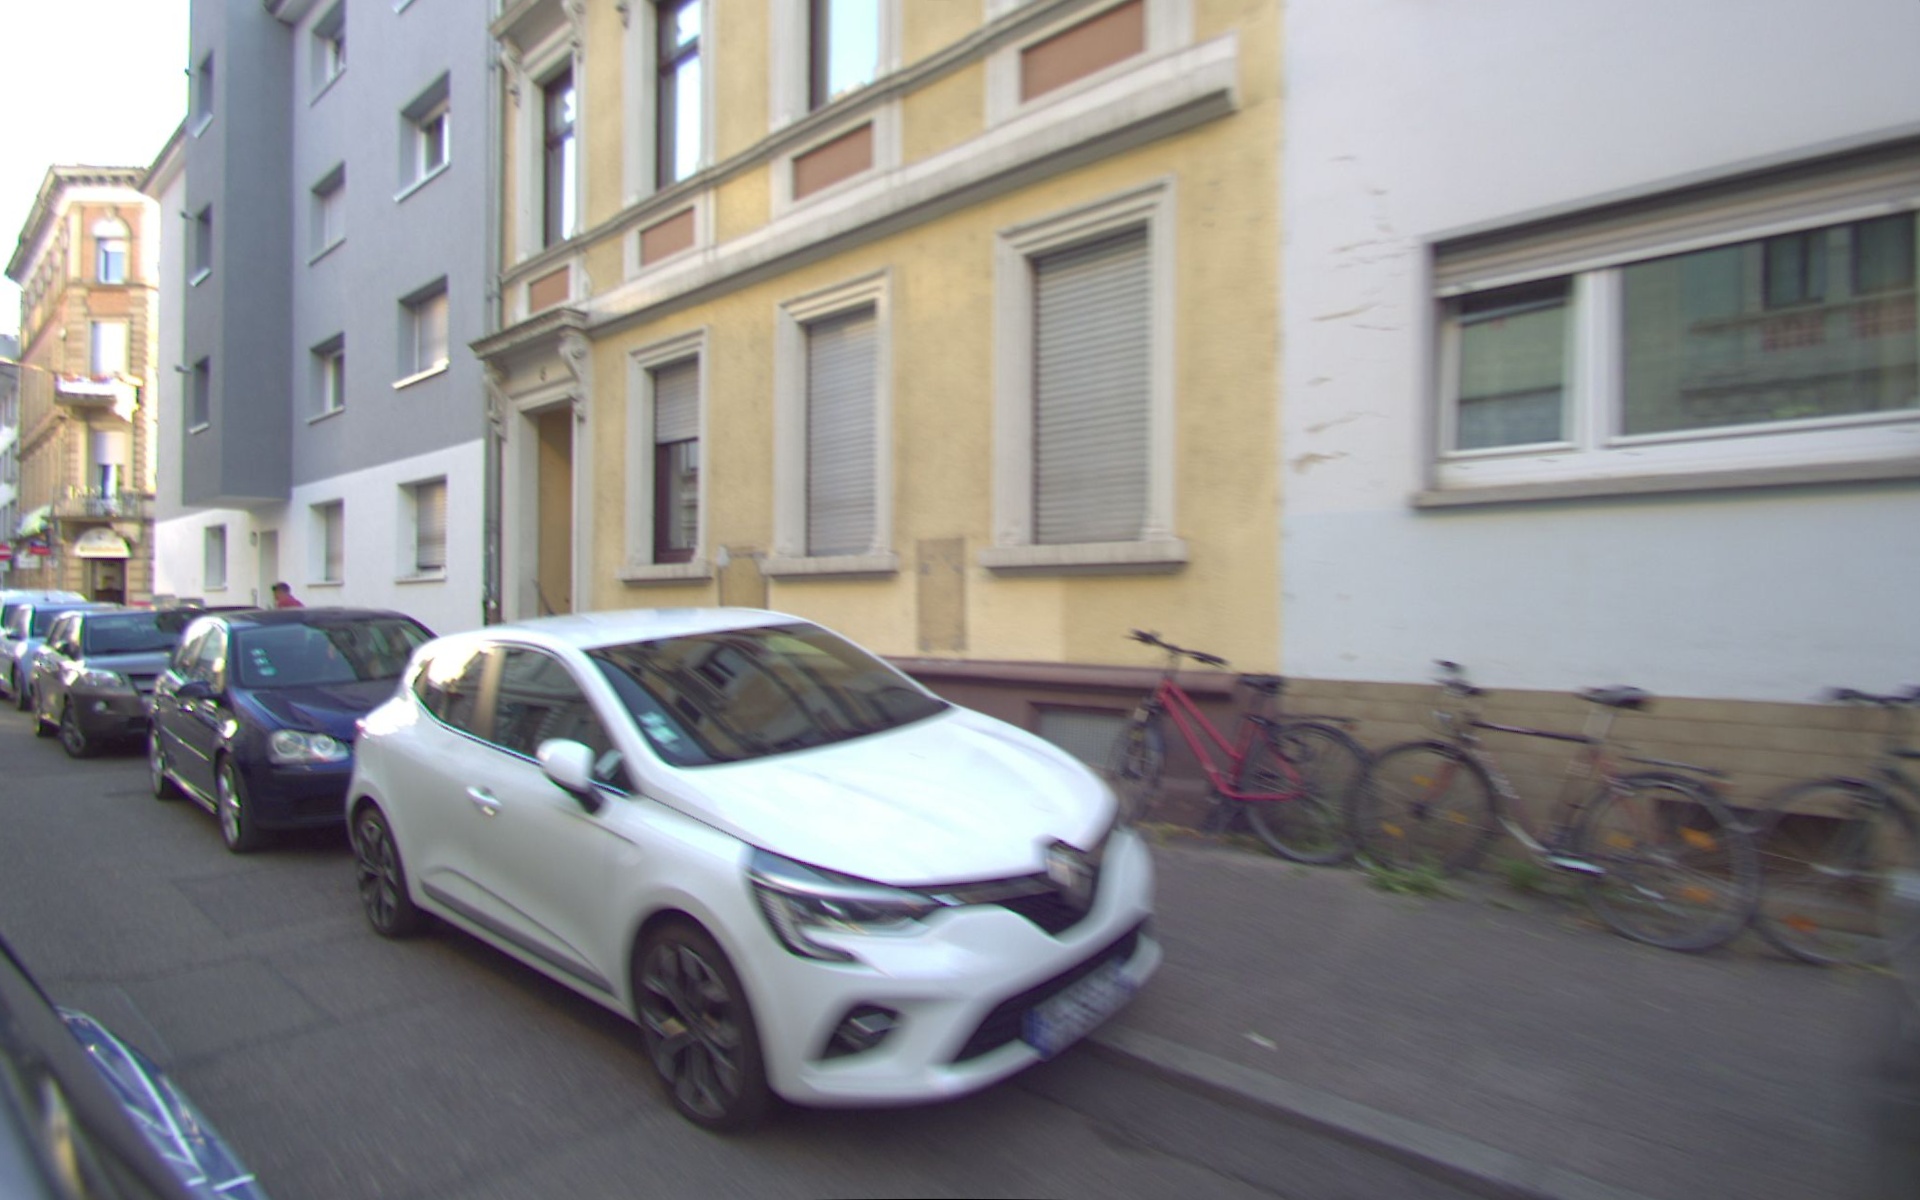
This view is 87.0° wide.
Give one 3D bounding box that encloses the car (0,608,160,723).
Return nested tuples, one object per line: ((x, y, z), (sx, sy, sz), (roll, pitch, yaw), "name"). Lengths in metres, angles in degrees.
((-14.084, 0.948, 15.910), (3.780, 1.592, 1.621), (-1, -1, 40), "car")

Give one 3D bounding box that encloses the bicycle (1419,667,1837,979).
((2.707, 0.828, 4.307), (0.287, 1.016, 1.549), (0, -1, -25), "bicycle")

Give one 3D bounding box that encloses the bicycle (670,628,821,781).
((-1.765, 0.795, 8.181), (1.544, 1.123, 0.377), (-1, -1, 43), "bicycle")

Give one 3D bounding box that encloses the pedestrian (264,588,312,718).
((-9.357, 0.721, 14.091), (0.455, 1.769, 0.450), (-1, -1, 40), "pedestrian")

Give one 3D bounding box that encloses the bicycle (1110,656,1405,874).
((1.565, 0.834, 5.508), (1.542, 1.016, 0.289), (-1, -1, 39), "bicycle")

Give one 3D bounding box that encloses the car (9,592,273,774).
((-9.331, 0.824, 11.440), (3.780, 1.724, 1.621), (-1, -1, 40), "car")

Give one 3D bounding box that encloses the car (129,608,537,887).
((-4.755, 0.833, 7.428), (3.955, 1.500, 1.620), (-1, -1, 44), "car")

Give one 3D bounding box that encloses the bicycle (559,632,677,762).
((-3.267, 0.877, 9.601), (1.544, 1.123, 0.377), (-1, -1, 43), "bicycle")

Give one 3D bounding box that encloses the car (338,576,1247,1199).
((-0.975, 0.734, 4.091), (3.787, 1.500, 1.621), (-1, -1, 42), "car")

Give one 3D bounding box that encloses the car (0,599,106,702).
((-17.831, 0.918, 19.501), (3.782, 1.810, 1.620), (-1, -1, 42), "car")

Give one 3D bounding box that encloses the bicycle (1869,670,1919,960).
((4.044, 0.765, 3.317), (1.541, 1.016, 0.289), (-1, -1, 37), "bicycle")
